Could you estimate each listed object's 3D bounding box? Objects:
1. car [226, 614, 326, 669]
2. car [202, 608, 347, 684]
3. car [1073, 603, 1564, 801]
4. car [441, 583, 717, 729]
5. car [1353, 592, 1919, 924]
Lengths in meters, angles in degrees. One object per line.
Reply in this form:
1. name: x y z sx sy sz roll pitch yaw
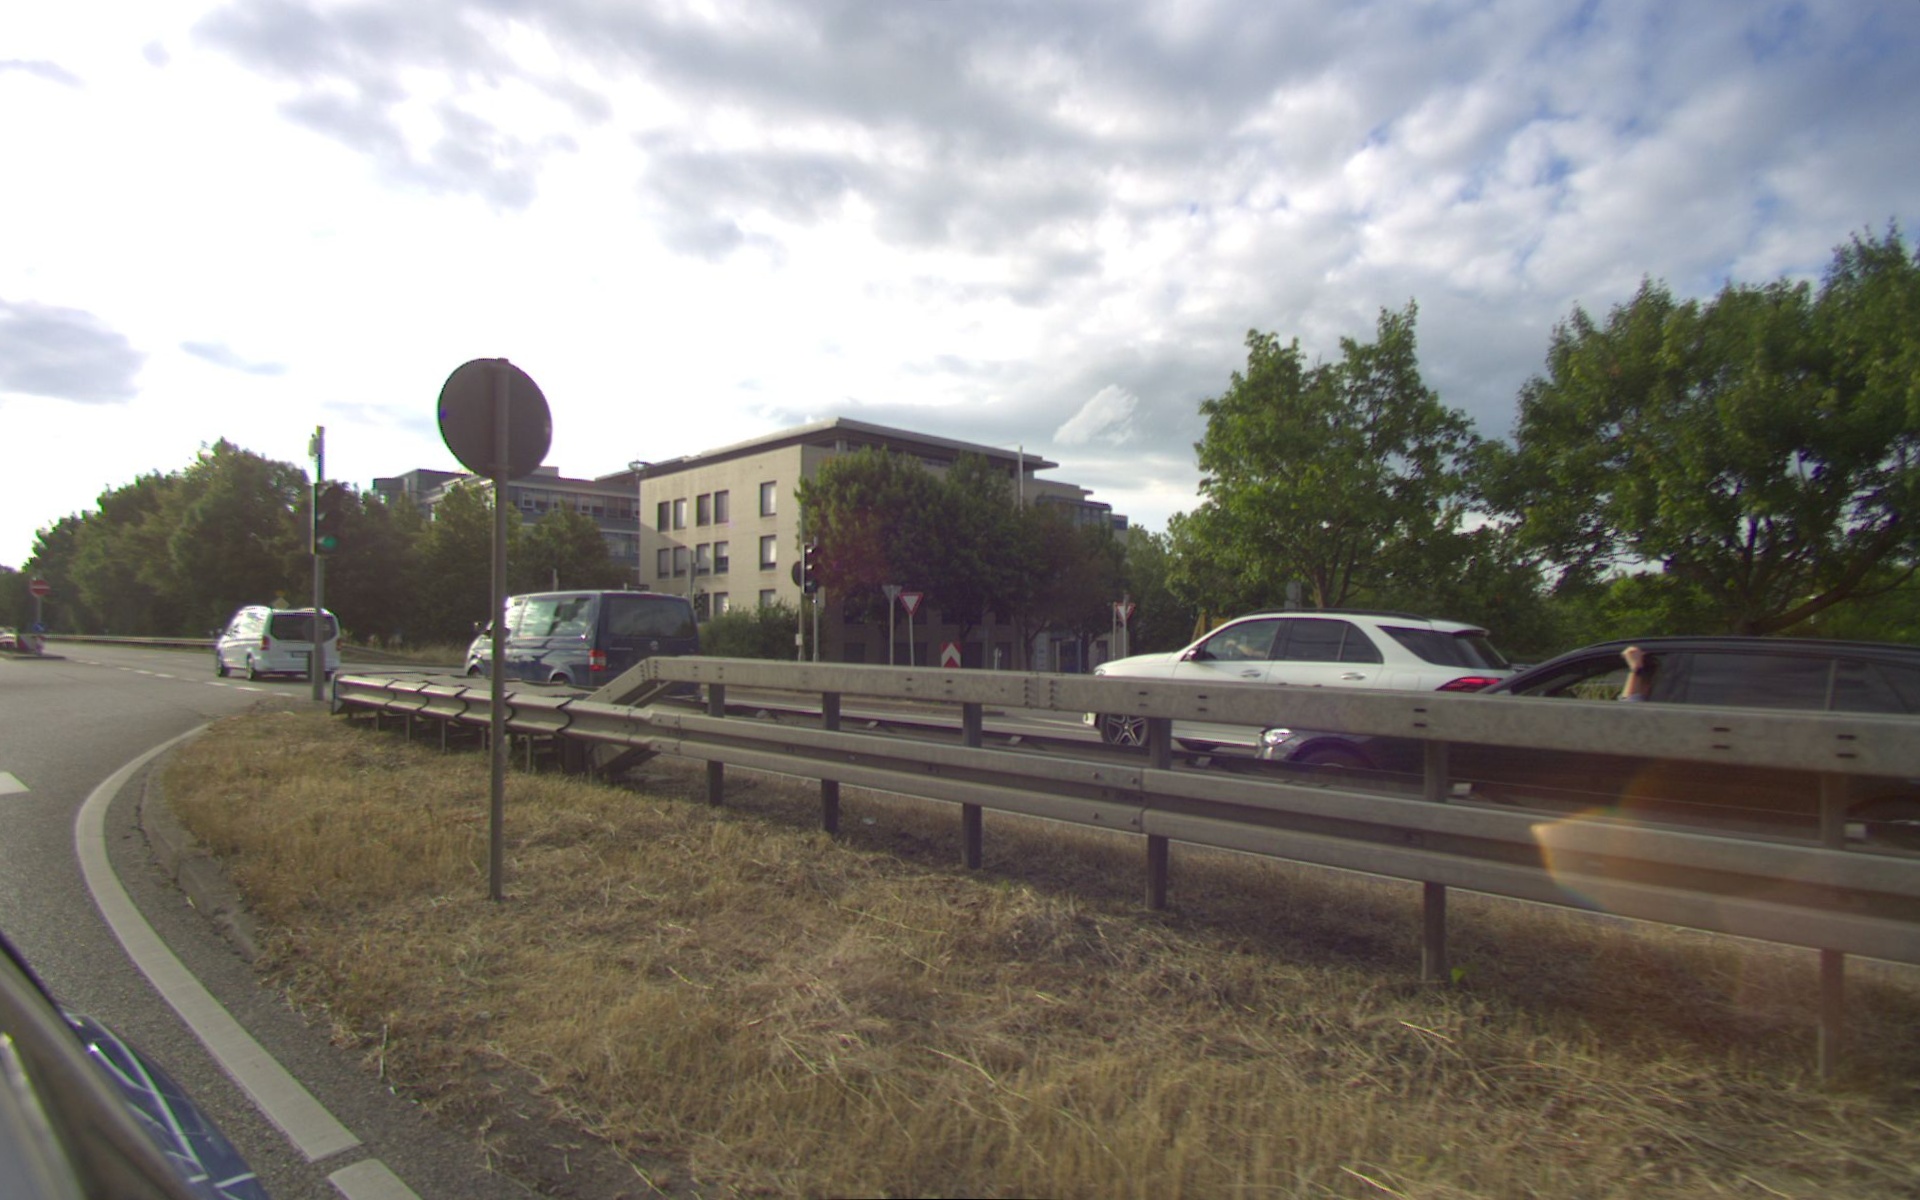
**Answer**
1. car: -26.549 1.585 39.213 5.088 2.005 1.914 -1 -3 41
2. car: -18.714 1.216 27.516 5.344 1.886 1.914 -1 -3 41
3. car: 3.843 1.003 11.443 4.844 1.763 2.012 -1 -4 42
4. car: -6.086 0.846 15.820 5.050 1.931 1.878 -1 -5 43
5. car: 4.856 0.786 5.811 4.551 1.601 1.695 -1 -2 41
